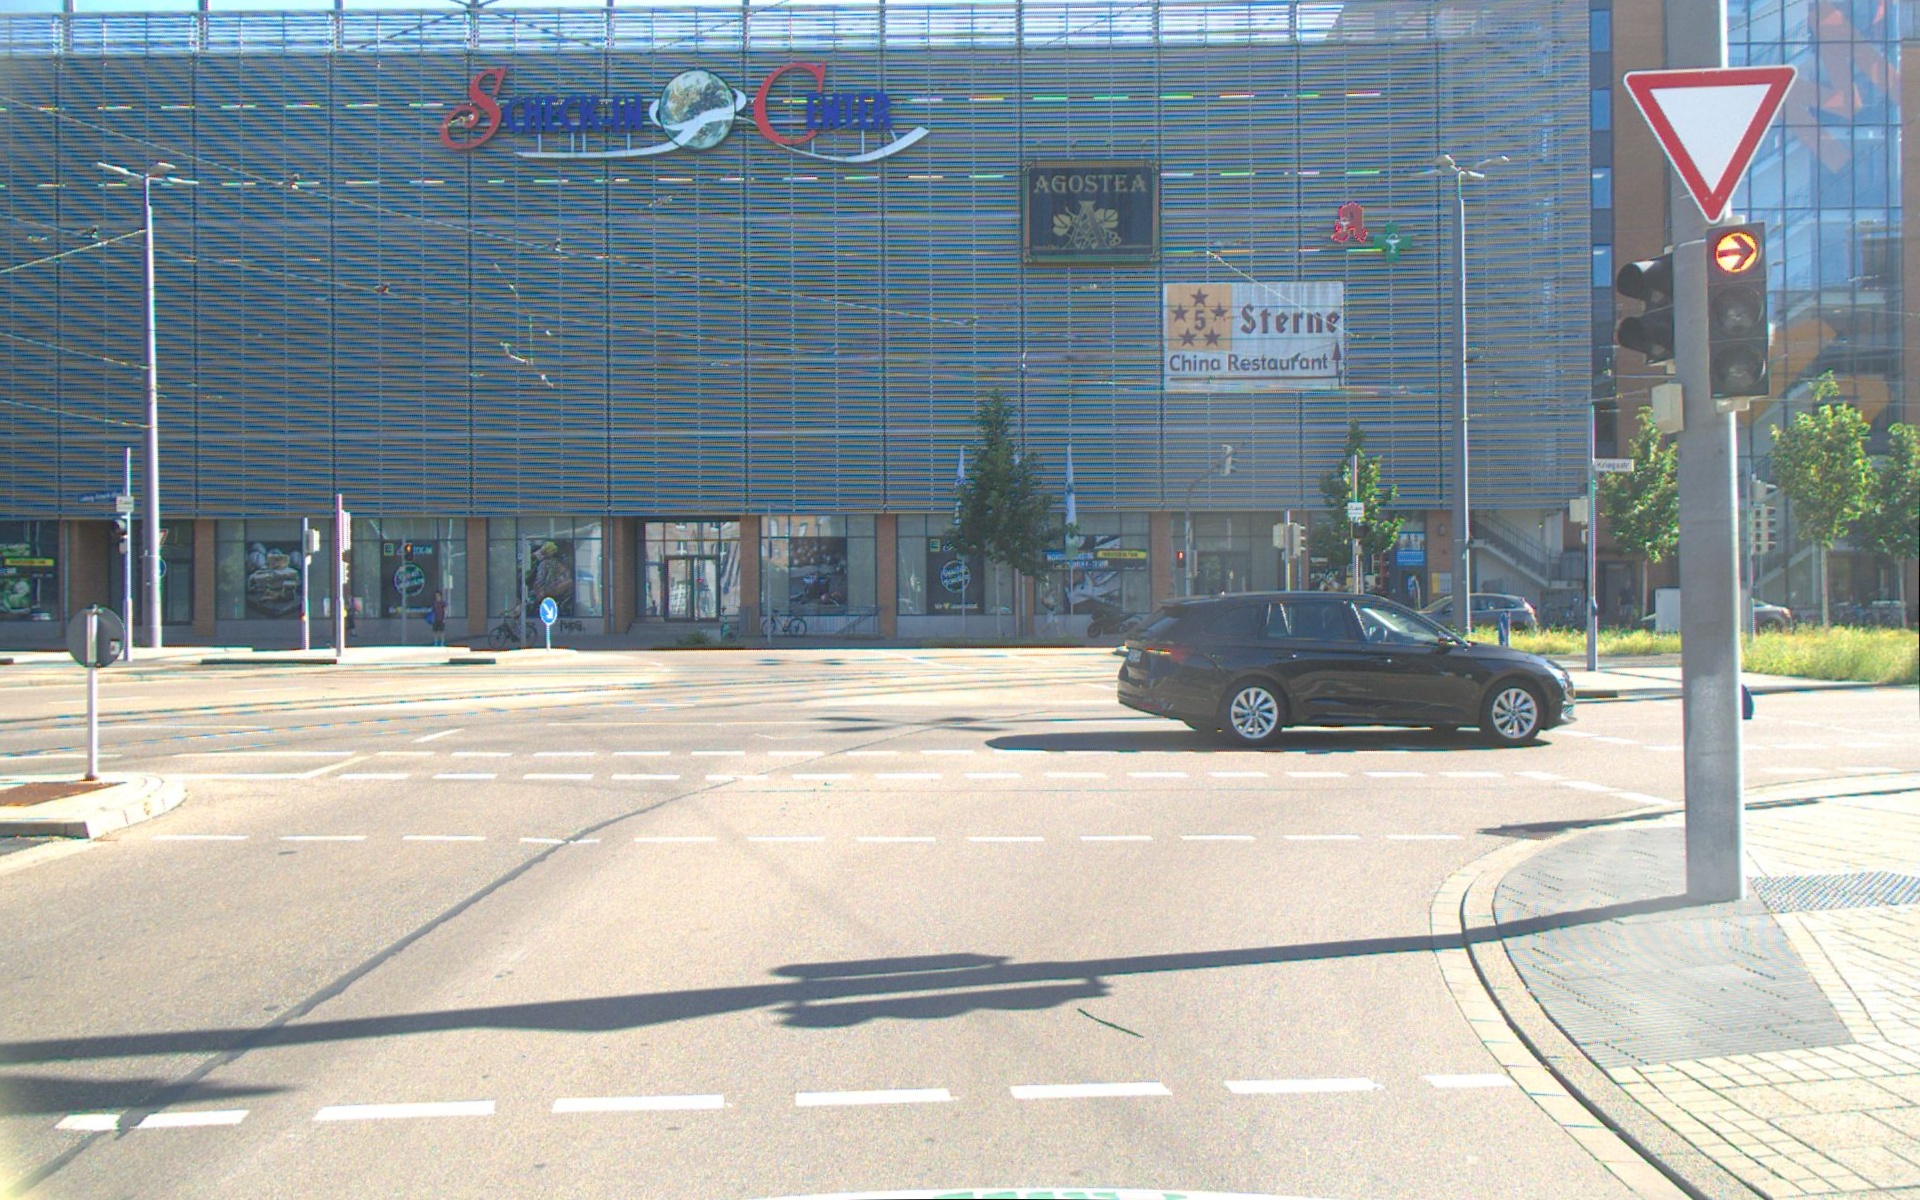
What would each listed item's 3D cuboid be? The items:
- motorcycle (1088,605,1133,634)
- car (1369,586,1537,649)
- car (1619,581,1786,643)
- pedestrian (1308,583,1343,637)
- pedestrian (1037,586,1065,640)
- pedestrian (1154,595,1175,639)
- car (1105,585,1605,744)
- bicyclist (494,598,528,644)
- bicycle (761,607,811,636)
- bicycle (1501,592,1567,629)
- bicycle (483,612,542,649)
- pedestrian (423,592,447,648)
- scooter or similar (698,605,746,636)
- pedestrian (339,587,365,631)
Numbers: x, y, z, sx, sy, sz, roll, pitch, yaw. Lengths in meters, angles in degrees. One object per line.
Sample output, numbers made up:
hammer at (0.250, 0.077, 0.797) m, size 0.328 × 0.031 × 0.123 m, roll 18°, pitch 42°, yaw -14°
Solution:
motorcycle at (5.529, 0.725, 60.702) m, size 1.605 × 1.022 × 0.447 m, roll 1°, pitch 0°, yaw 6°
car at (13.669, 0.495, 46.041) m, size 4.063 × 1.495 × 1.840 m, roll 3°, pitch -1°, yaw -2°
car at (22.468, 0.373, 50.130) m, size 4.203 × 1.611 × 1.840 m, roll 3°, pitch -1°, yaw -2°
pedestrian at (12.992, 0.338, 58.835) m, size 0.991 × 1.860 × 1.036 m, roll -2°, pitch 0°, yaw 3°
pedestrian at (3.293, 0.480, 59.626) m, size 0.930 × 1.860 × 0.846 m, roll -2°, pitch -4°, yaw 5°
pedestrian at (6.856, 0.575, 55.358) m, size 0.641 × 1.438 × 0.850 m, roll 1°, pitch 0°, yaw 10°
car at (3.880, 0.615, 16.675) m, size 4.578 × 1.487 × 1.831 m, roll 0°, pitch 0°, yaw -6°
bicyclist at (-14.800, 0.687, 54.539) m, size 0.663 × 1.452 × 0.844 m, roll 0°, pitch 2°, yaw 42°
bicycle at (-6.366, 0.776, 60.427) m, size 1.783 × 1.006 × 0.556 m, roll 0°, pitch 1°, yaw -11°
bicycle at (21.288, 0.388, 61.346) m, size 2.209 × 1.318 × 0.605 m, roll 1°, pitch -1°, yaw -2°
bicycle at (-14.768, 1.004, 54.614) m, size 0.559 × 1.105 × 1.852 m, roll 0°, pitch 2°, yaw 42°
pedestrian at (-17.339, 0.660, 54.663) m, size 0.683 × 1.829 × 0.727 m, roll -2°, pitch 0°, yaw -17°
scooter or similar at (-8.746, 0.744, 60.774) m, size 1.759 × 1.085 × 0.611 m, roll 0°, pitch 1°, yaw -9°
pedestrian at (-22.612, 0.330, 61.488) m, size 0.646 × 1.629 × 0.594 m, roll 1°, pitch -1°, yaw 18°
